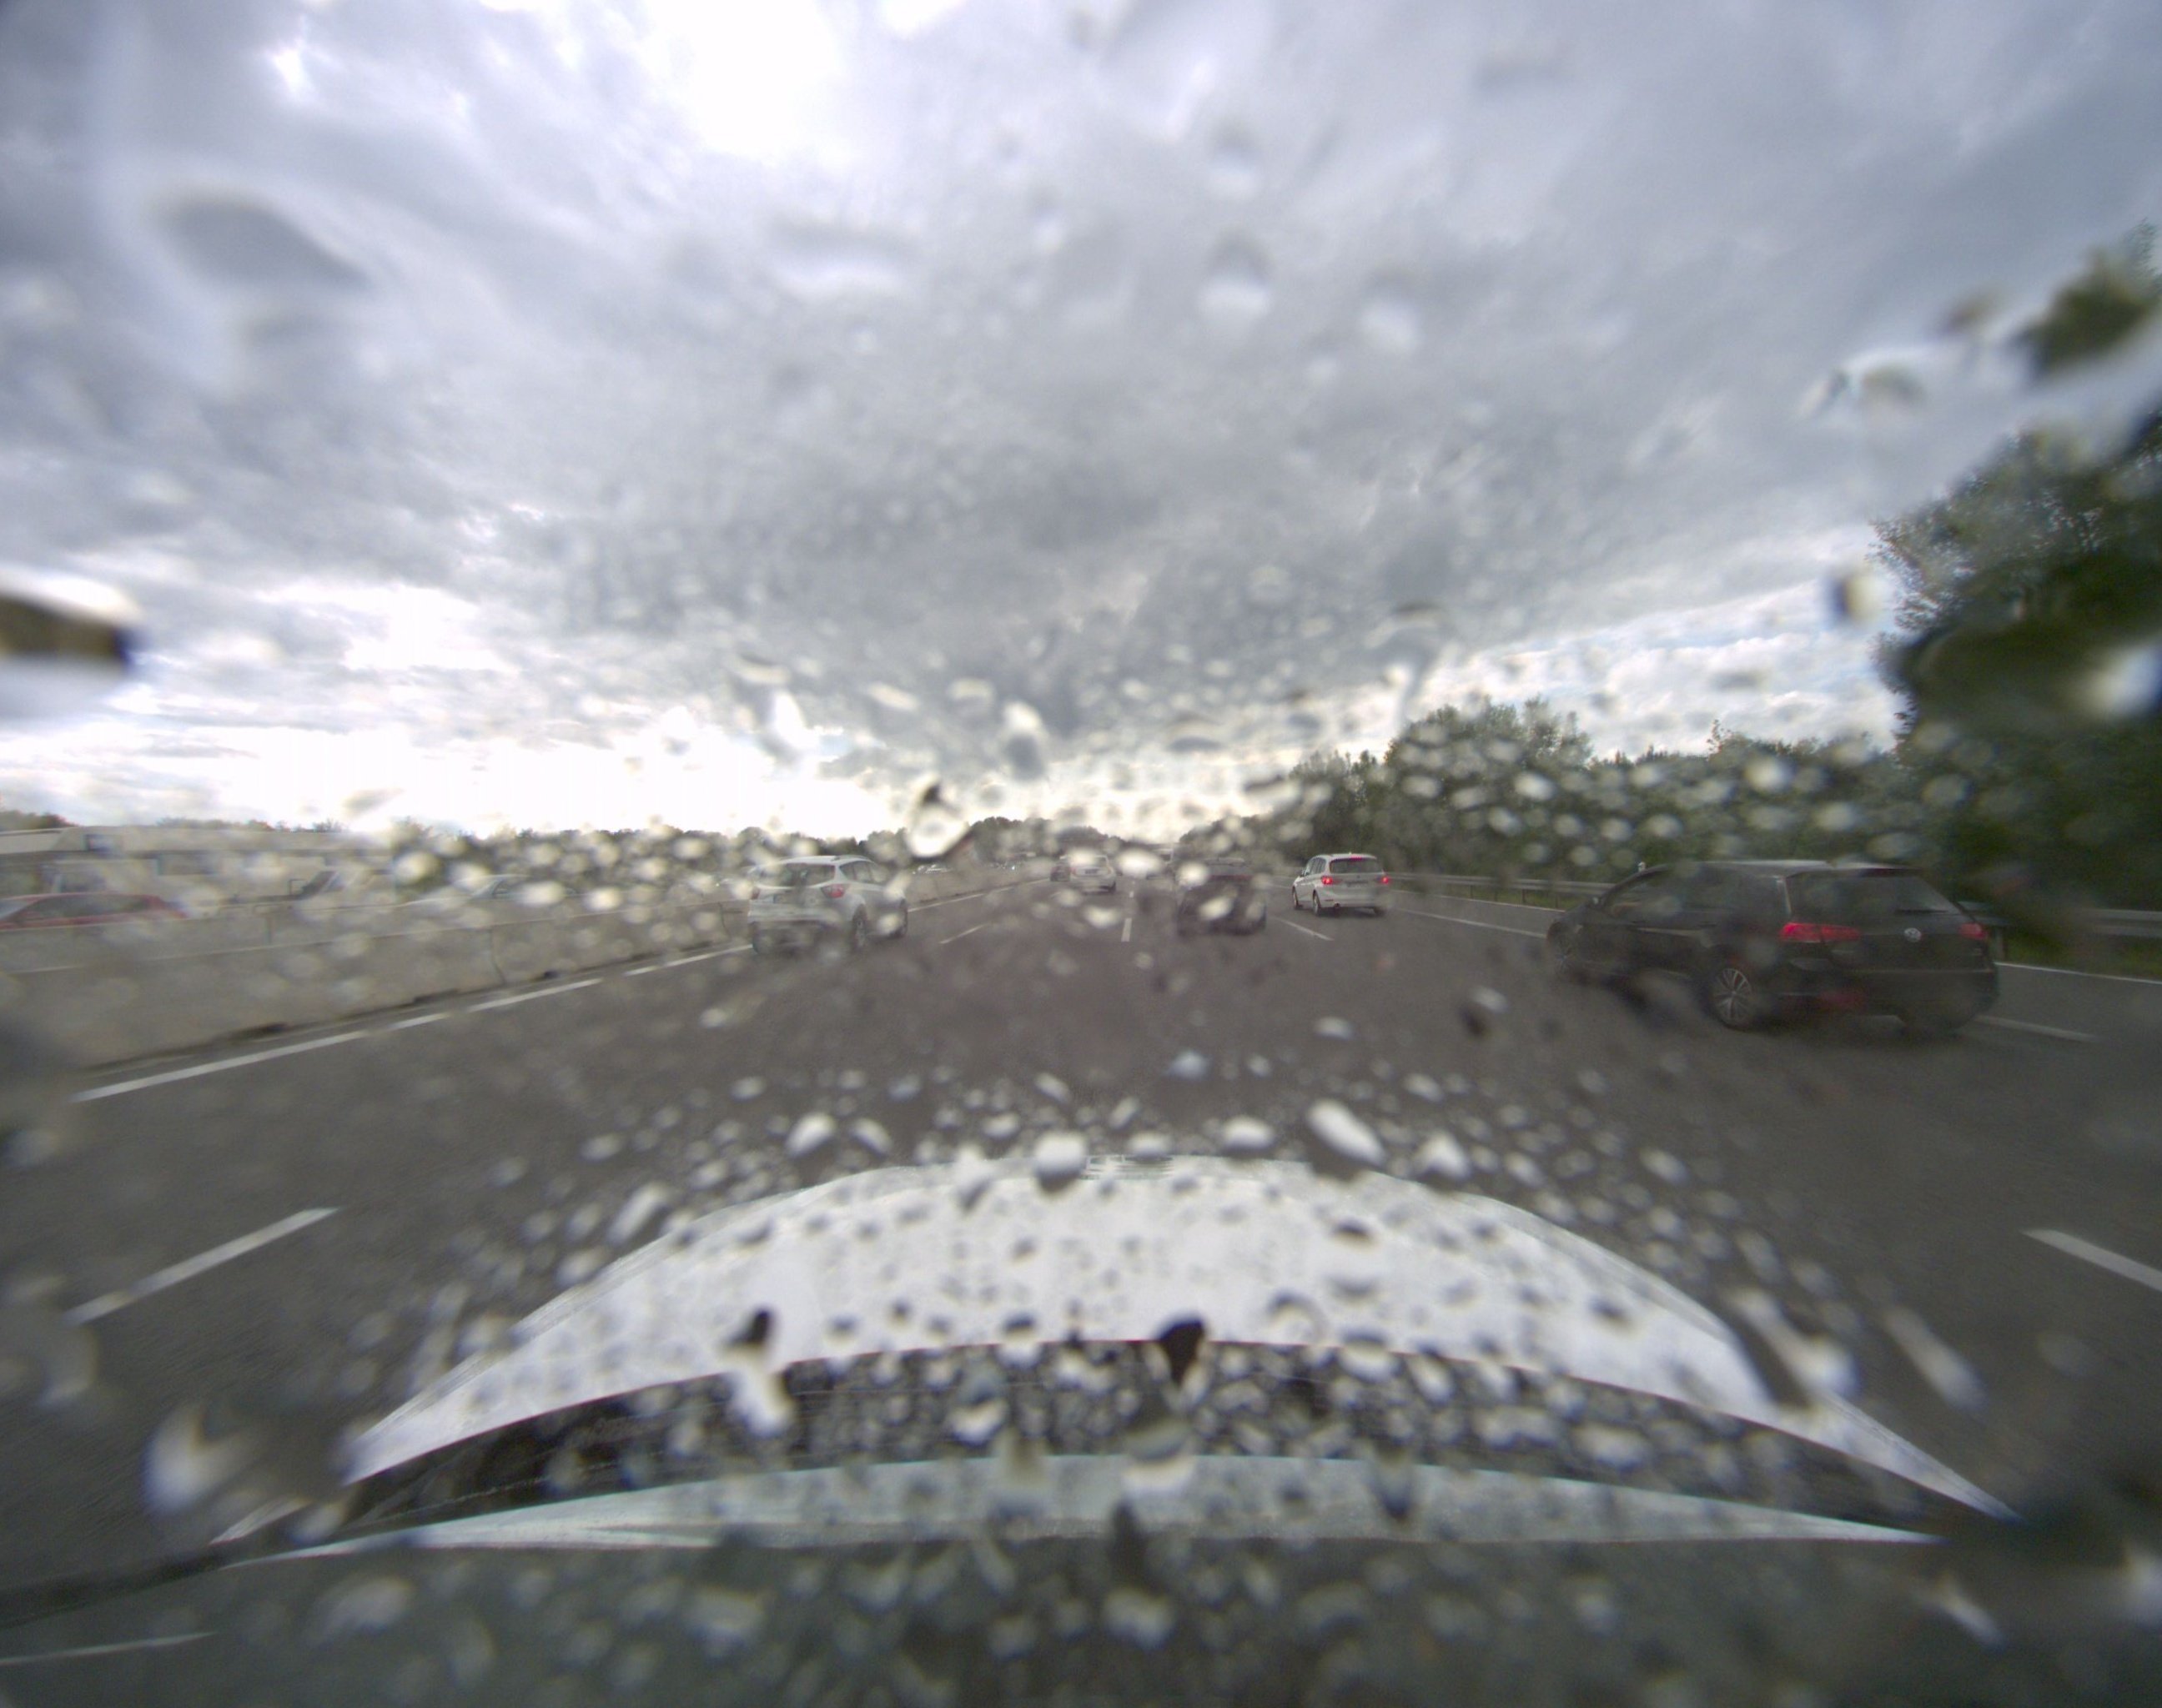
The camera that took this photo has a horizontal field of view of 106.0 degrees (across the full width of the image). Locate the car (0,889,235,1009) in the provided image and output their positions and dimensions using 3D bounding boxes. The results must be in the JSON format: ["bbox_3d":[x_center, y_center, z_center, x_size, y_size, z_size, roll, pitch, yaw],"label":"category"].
[{"bbox_3d":[-18.567,1.646,14.503,1.985,1.828,4.642,-1,-1,3],"label":"car"}]

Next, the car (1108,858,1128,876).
[{"bbox_3d":[3.624,1.218,79.763,1.873,1.686,4.003,-1,-1,3],"label":"car"}]

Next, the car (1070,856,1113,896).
[{"bbox_3d":[0.528,0.960,37.487,1.773,1.716,4.356,-1,-1,3],"label":"car"}]

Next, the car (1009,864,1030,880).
[{"bbox_3d":[-8.097,2.378,107.944,1.984,1.967,4.702,-1,-1,5],"label":"car"}]

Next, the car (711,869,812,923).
[{"bbox_3d":[-13.407,1.708,34.531,1.985,2.014,5.185,-1,-1,3],"label":"car"}]

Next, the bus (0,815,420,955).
[{"bbox_3d":[-25.664,0.797,24.501,2.818,3.332,9.975,-1,-1,5],"label":"bus"}]

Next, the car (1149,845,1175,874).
[{"bbox_3d":[8.580,0.611,86.737,2.555,2.895,7.542,-1,-1,4],"label":"car"}]

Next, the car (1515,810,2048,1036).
[{"bbox_3d":[6.320,0.527,8.210,1.699,1.631,4.461,-1,-1,3],"label":"car"}]

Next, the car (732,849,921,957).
[{"bbox_3d":[-4.575,0.790,15.526,1.807,1.689,4.856,-2,0,3],"label":"car"}]

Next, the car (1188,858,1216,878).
[{"bbox_3d":[9.155,1.055,61.940,1.787,1.477,4.043,-1,-1,5],"label":"car"}]

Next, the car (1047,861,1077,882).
[{"bbox_3d":[-1.408,1.307,62.319,1.772,1.481,4.359,-1,-1,6],"label":"car"}]

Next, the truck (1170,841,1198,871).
[{"bbox_3d":[13.596,0.288,108.312,3.119,3.709,9.859,-1,-1,4],"label":"truck"}]

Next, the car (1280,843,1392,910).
[{"bbox_3d":[6.778,0.571,22.155,1.802,1.599,4.700,-1,-1,4],"label":"car"}]

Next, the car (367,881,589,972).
[{"bbox_3d":[-14.820,1.690,20.446,1.986,1.854,4.638,-1,-1,2],"label":"car"}]

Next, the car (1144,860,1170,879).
[{"bbox_3d":[5.912,1.176,63.731,1.876,1.407,4.287,-1,-1,4],"label":"car"}]

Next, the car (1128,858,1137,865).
[{"bbox_3d":[11.666,1.742,185.572,1.873,1.686,4.003,-1,-1,3],"label":"car"}]

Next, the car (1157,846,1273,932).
[{"bbox_3d":[2.796,0.689,17.961,1.775,1.613,4.597,-1,-1,0],"label":"car"}]
